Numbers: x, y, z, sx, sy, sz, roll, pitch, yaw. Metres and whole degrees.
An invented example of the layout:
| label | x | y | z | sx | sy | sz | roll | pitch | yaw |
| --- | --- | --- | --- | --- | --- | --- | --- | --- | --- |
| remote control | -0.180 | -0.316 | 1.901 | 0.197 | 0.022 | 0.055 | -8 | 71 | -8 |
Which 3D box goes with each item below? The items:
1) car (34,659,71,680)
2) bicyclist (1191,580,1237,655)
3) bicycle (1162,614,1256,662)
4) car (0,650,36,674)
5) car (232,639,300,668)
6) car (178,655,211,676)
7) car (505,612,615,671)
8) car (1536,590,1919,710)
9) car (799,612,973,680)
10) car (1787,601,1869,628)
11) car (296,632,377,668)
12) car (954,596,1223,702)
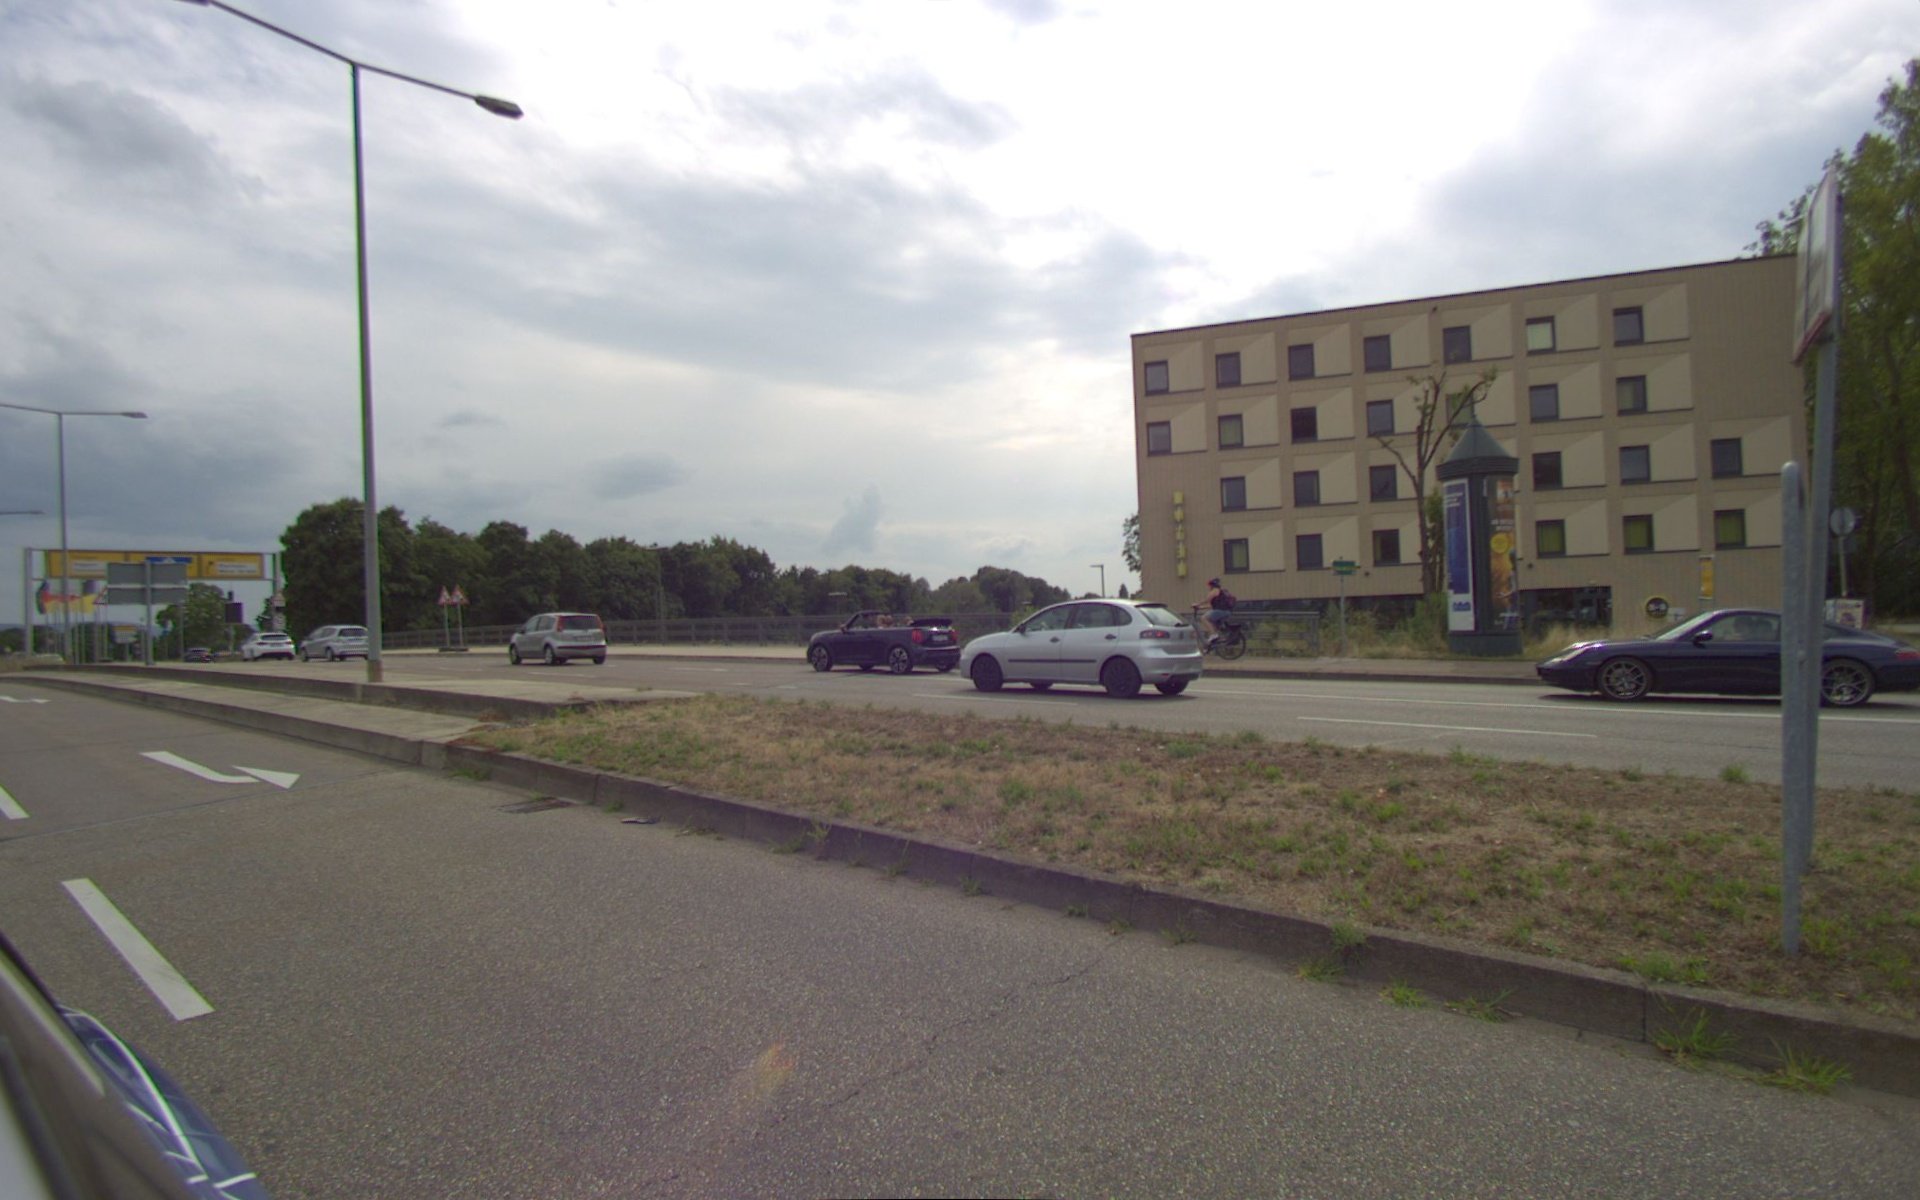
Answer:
| label | x | y | z | sx | sy | sz | roll | pitch | yaw |
| --- | --- | --- | --- | --- | --- | --- | --- | --- | --- |
| car | -77.580 | 5.922 | 86.507 | 4.216 | 1.652 | 1.867 | -3 | -2 | 41 |
| bicyclist | 5.875 | 0.406 | 23.362 | 0.843 | 1.684 | 0.680 | -2 | -1 | 29 |
| bicycle | 5.760 | 0.882 | 23.425 | 1.986 | 1.061 | 0.680 | -2 | -1 | 29 |
| car | -70.090 | 4.599 | 75.119 | 4.584 | 1.652 | 1.867 | -3 | -2 | 43 |
| car | -36.566 | 2.819 | 53.259 | 4.880 | 1.426 | 1.898 | -3 | -3 | 42 |
| car | -64.442 | 5.487 | 85.228 | 1.861 | 1.652 | 4.558 | -1 | -2 | -33 |
| car | -12.069 | 1.222 | 30.420 | 1.721 | 1.671 | 4.083 | 1 | -2 | -43 |
| car | 10.485 | 0.645 | 13.898 | 4.330 | 1.457 | 1.811 | -1 | -1 | 26 |
| car | -1.732 | 1.008 | 22.972 | 3.873 | 1.421 | 1.724 | -2 | -2 | 40 |
| car | 53.226 | 0.883 | 62.191 | 1.930 | 1.572 | 4.445 | -1 | -1 | 13 |
| car | -26.751 | 2.125 | 43.398 | 4.026 | 1.426 | 1.790 | -2 | -2 | 40 |
| car | 1.873 | 0.710 | 15.472 | 3.858 | 1.421 | 1.599 | -2 | -2 | 41 |
